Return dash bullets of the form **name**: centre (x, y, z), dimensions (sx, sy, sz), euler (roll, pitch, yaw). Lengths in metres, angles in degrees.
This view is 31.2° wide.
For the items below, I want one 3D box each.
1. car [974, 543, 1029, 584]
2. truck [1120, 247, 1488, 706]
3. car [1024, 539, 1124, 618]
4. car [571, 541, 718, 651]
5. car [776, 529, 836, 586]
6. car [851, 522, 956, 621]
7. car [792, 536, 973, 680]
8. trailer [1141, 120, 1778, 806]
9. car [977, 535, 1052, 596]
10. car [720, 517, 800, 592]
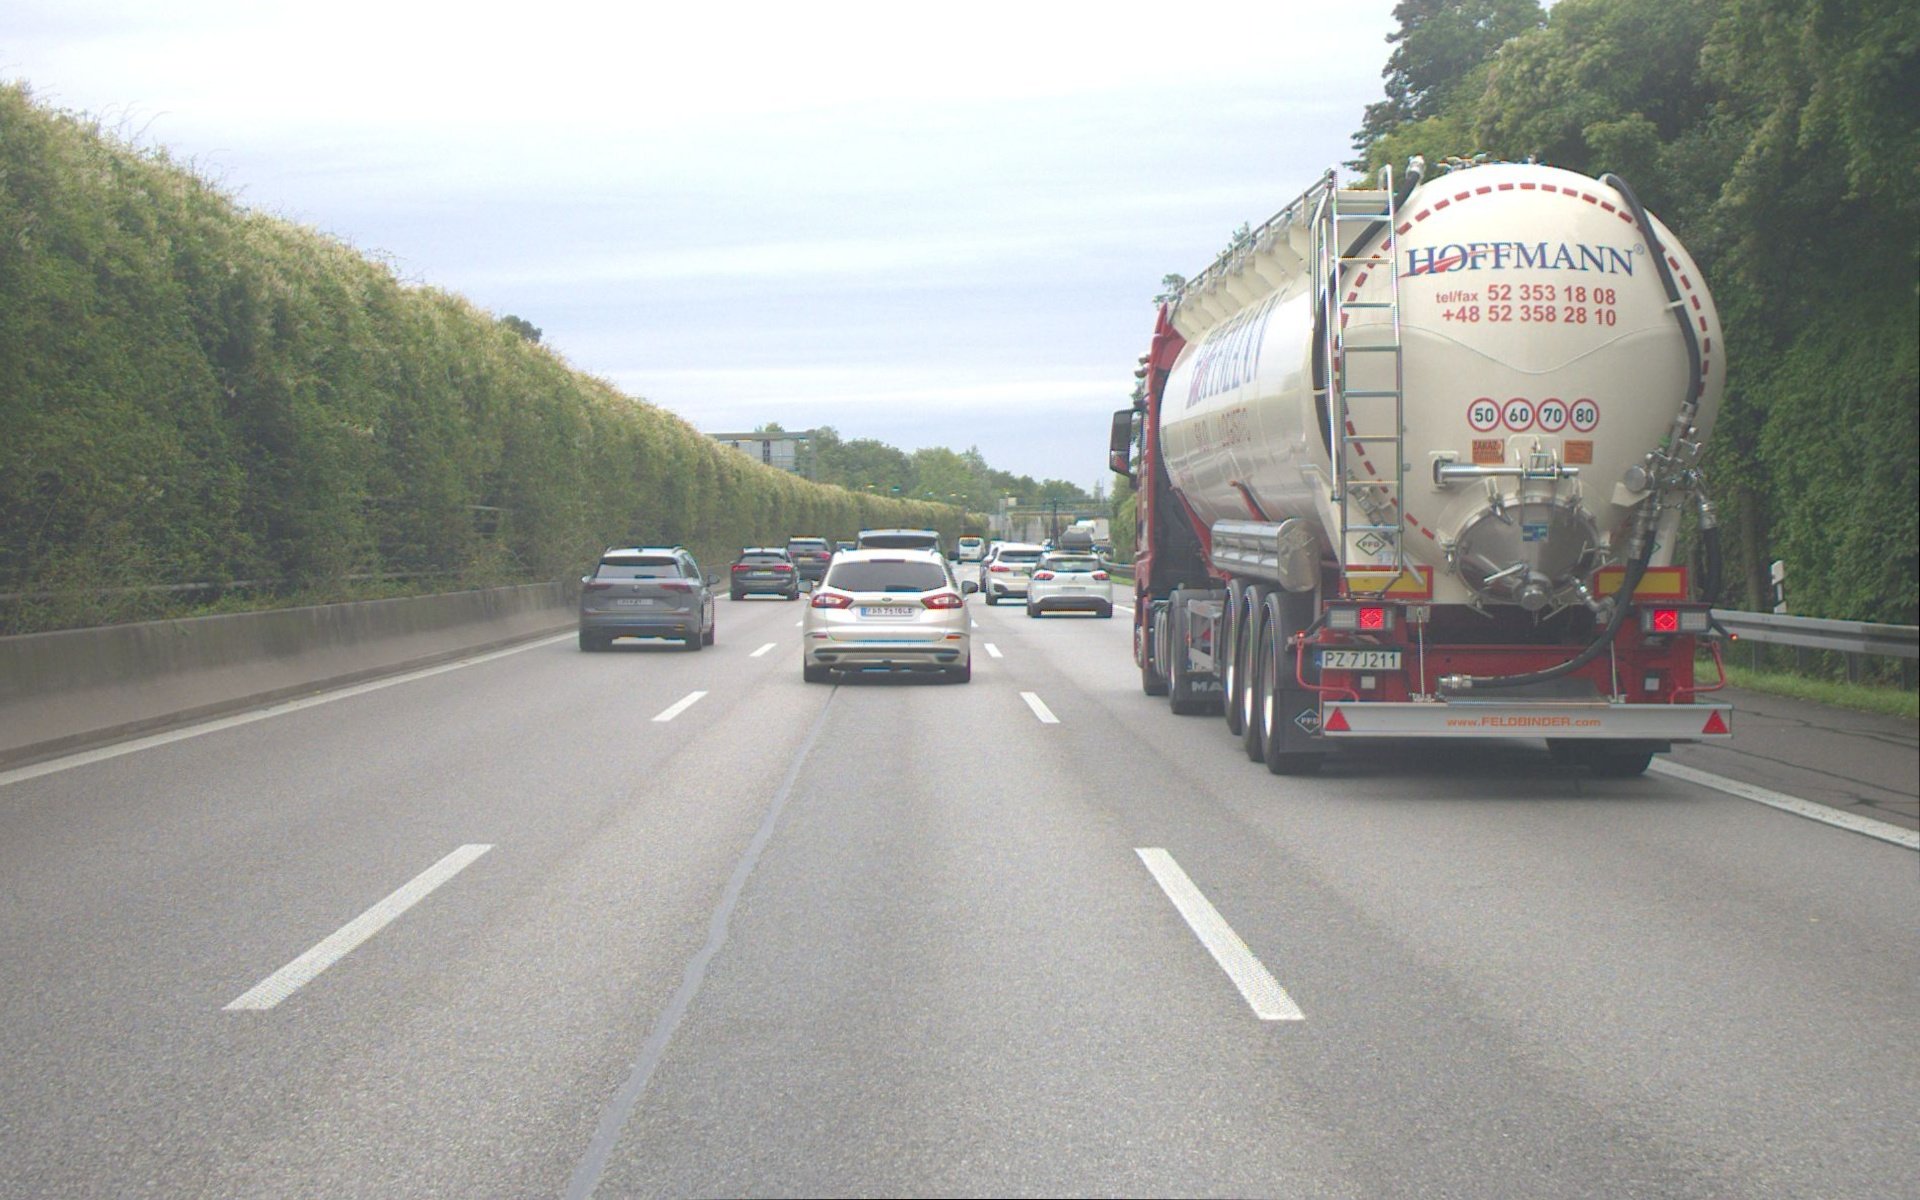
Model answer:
- **car**: centre (1.350, -1.197, 113.021), dimensions (1.689, 1.326, 3.871), euler (1, 1, -1)
- **truck**: centre (3.108, -1.091, 32.825), dimensions (2.695, 3.899, 6.557), euler (1, 1, -1)
- **car**: centre (2.416, -0.490, 73.789), dimensions (1.816, 1.620, 5.030), euler (1, 1, -2)
- **car**: centre (-4.542, -0.094, 50.034), dimensions (1.720, 1.507, 5.030), euler (1, 1, -1)
- **car**: centre (-5.546, -1.533, 123.968), dimensions (1.993, 2.007, 4.000), euler (0, 1, -1)
- **car**: centre (-0.998, -0.534, 61.127), dimensions (1.689, 1.501, 3.872), euler (5, 2, -1)
- **car**: centre (-0.897, 0.082, 38.887), dimensions (1.891, 1.499, 5.030), euler (1, 0, -2)
- **trailer**: centre (3.209, -0.847, 26.265), dimensions (2.668, 3.925, 13.131), euler (0, 1, -1)
- **car**: centre (1.394, -0.893, 89.046), dimensions (1.688, 1.501, 3.872), euler (1, 1, -3)
- **car**: centre (-5.465, -1.255, 94.233), dimensions (1.993, 2.007, 3.841), euler (0, 1, -1)
